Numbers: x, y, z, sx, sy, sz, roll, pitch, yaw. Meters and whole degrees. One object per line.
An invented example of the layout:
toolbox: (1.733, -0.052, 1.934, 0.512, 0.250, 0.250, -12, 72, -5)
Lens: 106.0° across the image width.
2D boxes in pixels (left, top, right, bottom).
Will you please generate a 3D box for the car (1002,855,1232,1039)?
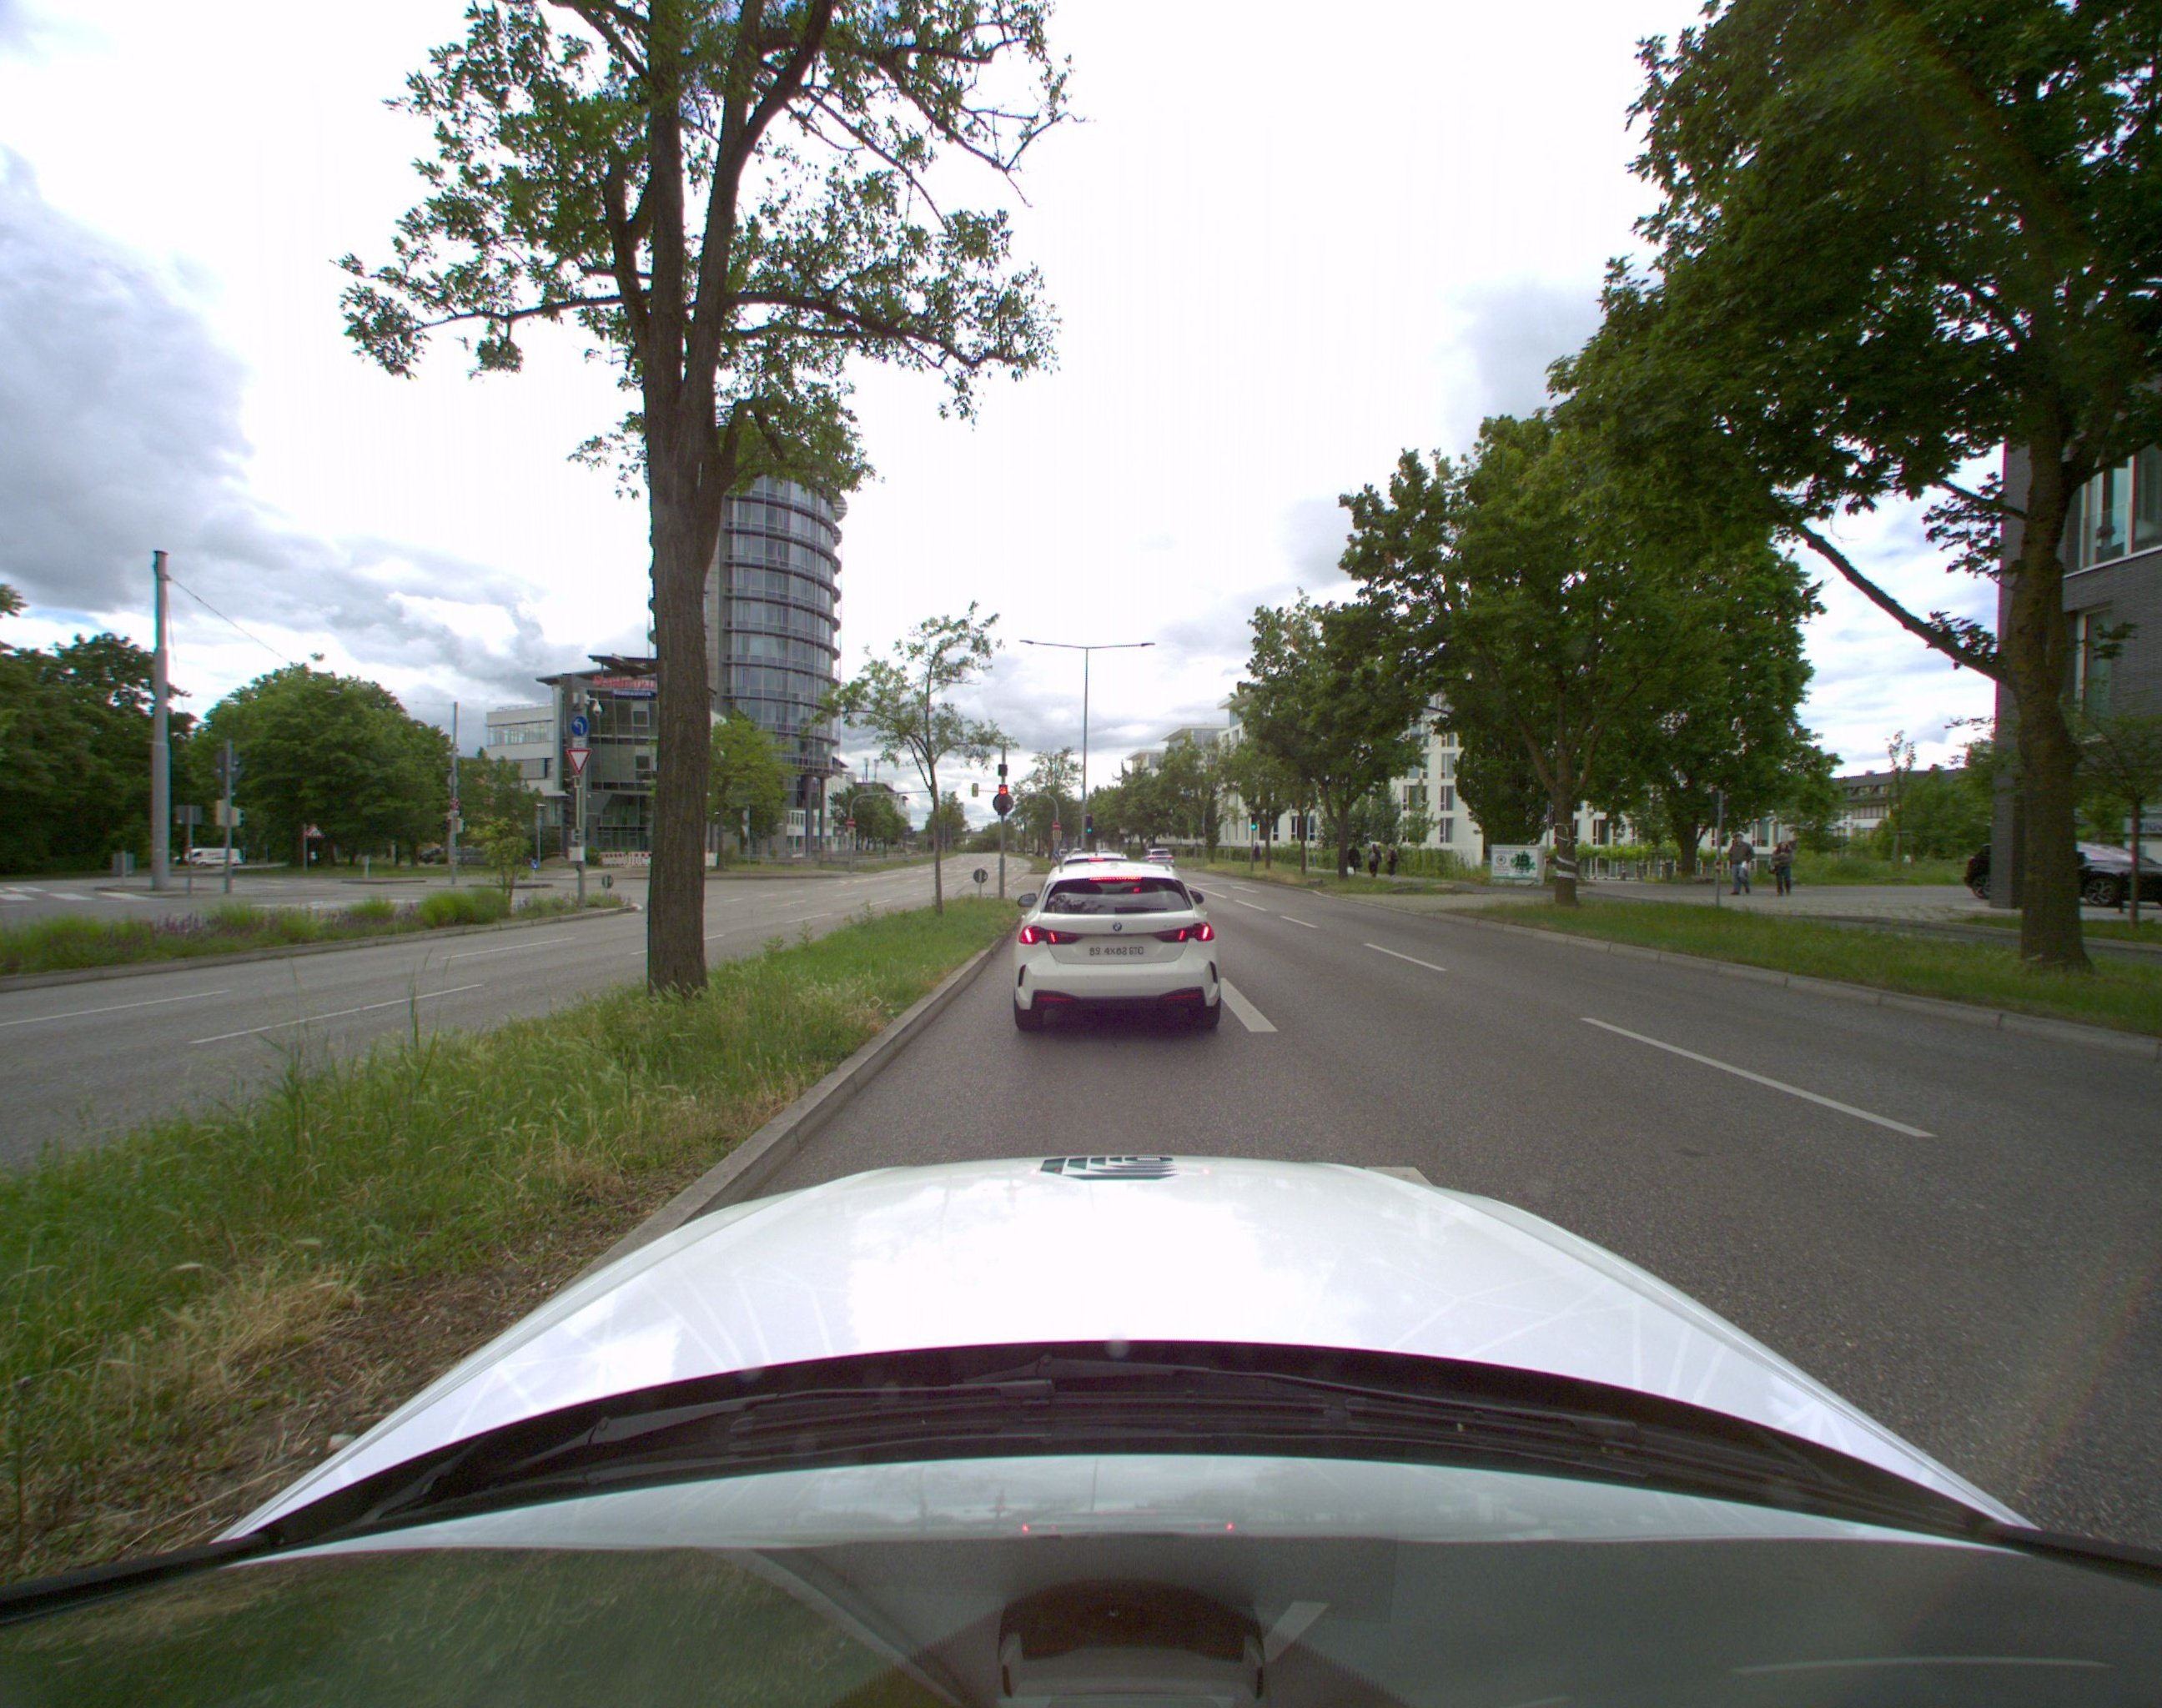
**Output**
car: (0.351, 0.741, 8.449, 1.815, 1.438, 4.002, 0, 0, 2)

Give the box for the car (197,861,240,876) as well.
car: (-123.095, 2.067, 116.248, 3.985, 2.013, 1.718, 0, 0, -9)

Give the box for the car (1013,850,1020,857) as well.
car: (-18.717, -0.212, 235.867, 1.834, 2.014, 3.994, 0, -1, -4)

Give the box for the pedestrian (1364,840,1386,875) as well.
pedestrian: (13.781, 0.172, 38.188, 0.697, 1.595, 0.883, 0, -1, 1)

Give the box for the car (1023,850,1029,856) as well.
car: (-17.409, -0.307, 257.913, 1.834, 2.014, 3.994, 0, -1, -4)

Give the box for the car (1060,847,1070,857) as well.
car: (-2.762, -0.298, 141.223, 1.734, 1.666, 3.997, 0, 0, -2)

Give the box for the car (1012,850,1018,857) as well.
car: (-20.678, -0.187, 256.135, 1.834, 2.014, 3.994, 0, -1, -4)

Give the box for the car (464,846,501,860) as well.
car: (-37.360, -0.061, 50.880, 0.766, 0.876, 1.730, 0, 0, 38)

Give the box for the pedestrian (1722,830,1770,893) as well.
pedestrian: (20.250, 0.227, 24.807, 0.983, 1.868, 0.952, 0, 0, -38)

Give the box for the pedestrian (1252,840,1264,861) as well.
pedestrian: (13.533, -0.287, 62.260, 0.739, 1.574, 0.674, 0, -1, 0)

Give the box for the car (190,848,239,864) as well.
car: (-128.869, 0.256, 121.192, 1.978, 2.339, 4.570, -1, -1, 16)

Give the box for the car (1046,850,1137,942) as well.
car: (0.245, 0.714, 15.977, 1.544, 1.569, 4.002, 0, 0, 2)

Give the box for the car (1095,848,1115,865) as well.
car: (2.368, 0.237, 82.430, 1.692, 1.717, 3.995, 0, 0, -3)

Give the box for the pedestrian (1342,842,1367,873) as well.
pedestrian: (12.892, 0.180, 38.428, 0.786, 1.448, 1.112, 0, -1, 1)

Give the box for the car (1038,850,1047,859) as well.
car: (-7.317, 0.057, 154.356, 1.597, 1.666, 3.997, 0, 0, -2)

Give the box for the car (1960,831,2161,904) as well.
car: (24.895, 0.298, 20.224, 1.749, 1.646, 4.151, 0, 0, 2)

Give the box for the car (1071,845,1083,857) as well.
car: (-0.600, -0.459, 120.971, 1.597, 1.666, 3.997, 0, 0, -2)

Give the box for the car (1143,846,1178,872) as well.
car: (5.351, 0.320, 55.284, 1.987, 1.670, 3.999, -2, 0, 0)

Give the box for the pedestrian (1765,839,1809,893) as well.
pedestrian: (20.922, 0.355, 24.125, 0.880, 1.557, 0.825, 0, 0, -38)

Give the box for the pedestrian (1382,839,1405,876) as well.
pedestrian: (14.687, 0.166, 38.272, 0.764, 1.685, 0.883, 0, -1, 1)
